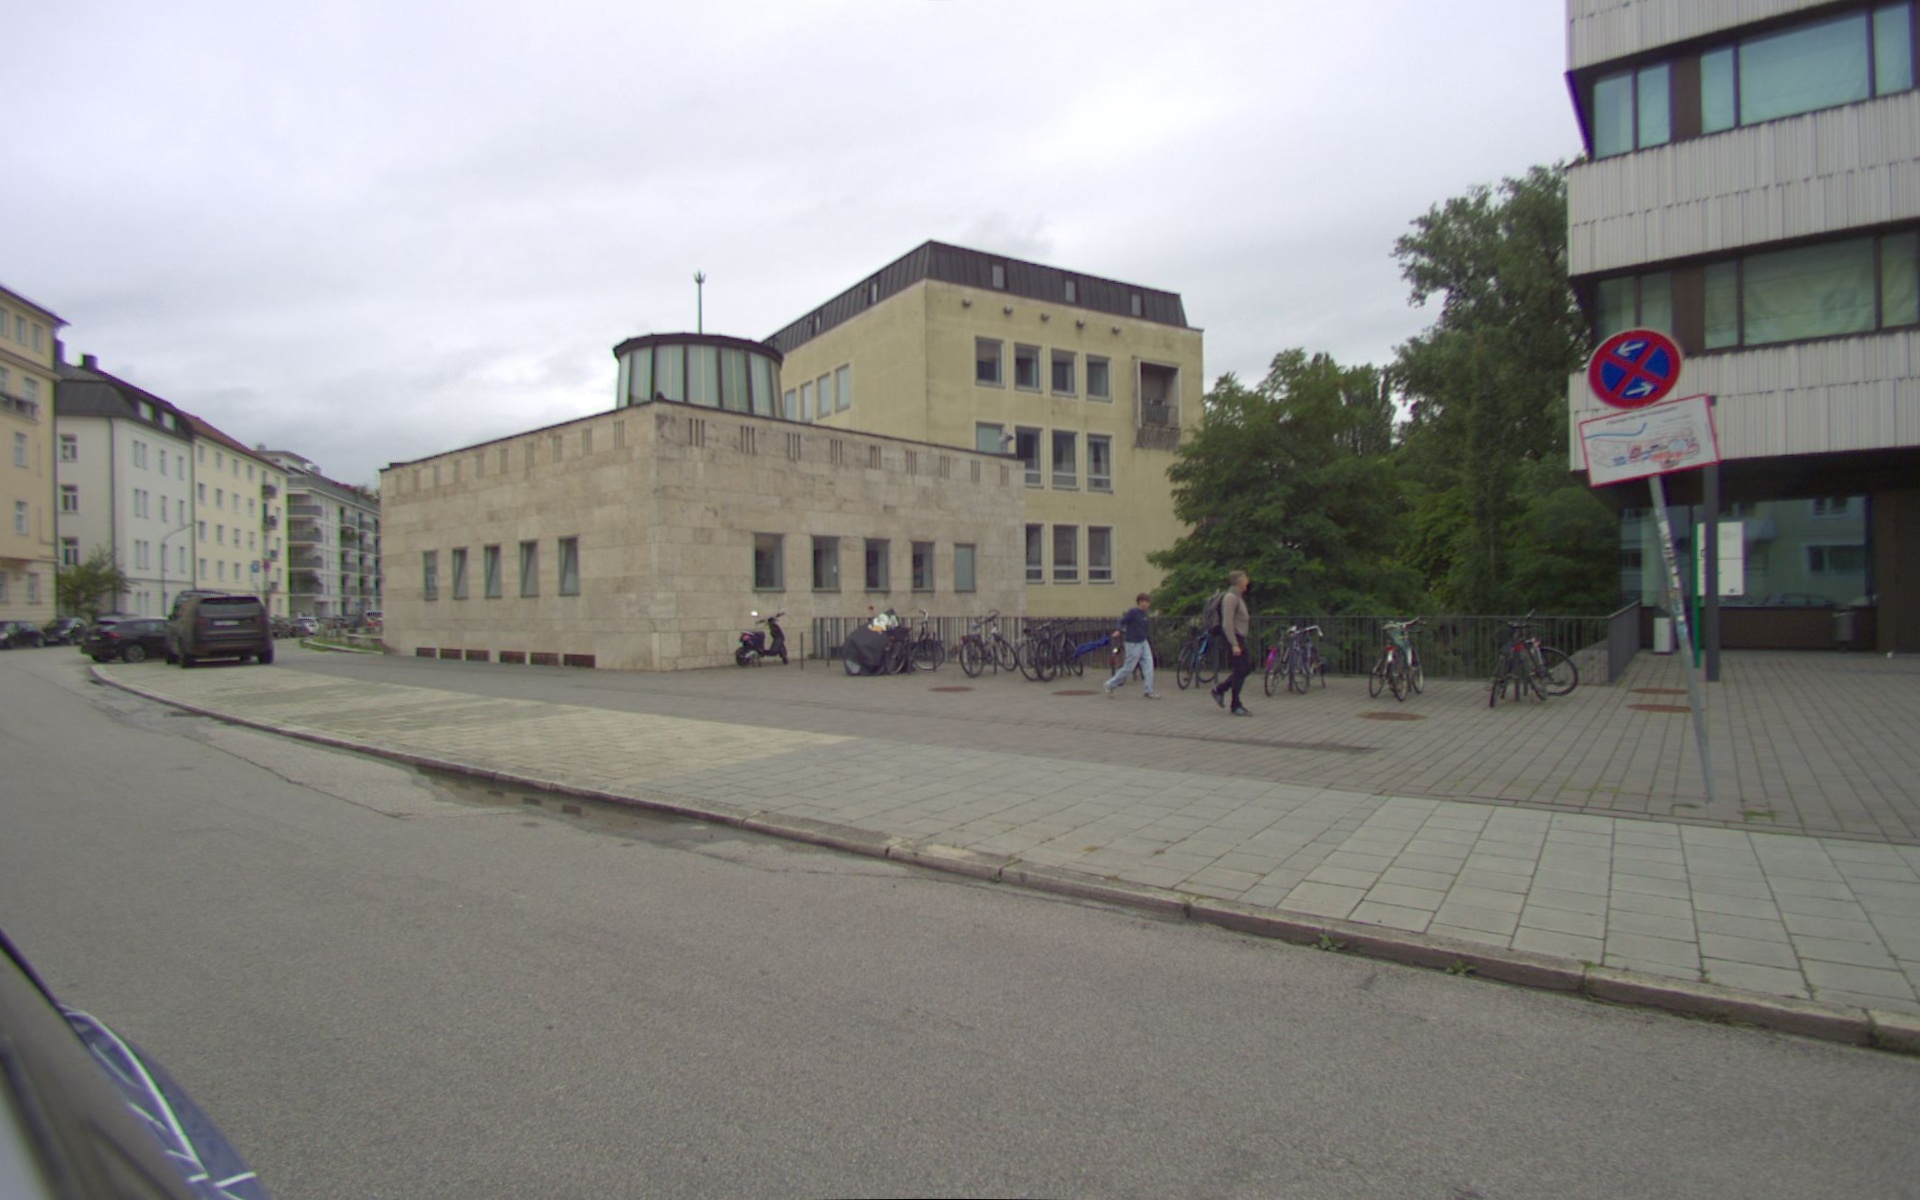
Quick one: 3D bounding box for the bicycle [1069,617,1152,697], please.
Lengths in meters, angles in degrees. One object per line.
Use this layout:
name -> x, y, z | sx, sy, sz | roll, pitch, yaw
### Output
bicycle -> 2.470, 0.885, 16.421 | 0.614, 1.119, 2.032 | -2, 1, 29

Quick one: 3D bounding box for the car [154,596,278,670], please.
car -> -20.131, 0.870, 27.301 | 4.817, 1.785, 1.971 | -2, -1, 45

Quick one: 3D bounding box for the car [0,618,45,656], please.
car -> -46.492, 1.816, 49.034 | 1.811, 1.743, 3.742 | -3, 1, -19

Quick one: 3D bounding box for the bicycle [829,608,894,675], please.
bicycle -> -2.001, 0.835, 20.713 | 0.462, 1.269, 1.437 | -2, 1, 35

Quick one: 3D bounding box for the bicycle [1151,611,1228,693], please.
bicycle -> 3.650, 0.787, 15.967 | 0.614, 1.119, 2.032 | -2, 1, 29

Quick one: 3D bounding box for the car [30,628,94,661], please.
car -> -48.702, 2.405, 54.925 | 1.487, 1.568, 2.871 | -3, 1, -17

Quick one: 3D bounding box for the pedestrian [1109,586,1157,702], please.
pedestrian -> 2.503, 0.624, 14.645 | 0.600, 1.613, 0.642 | -3, 0, 11

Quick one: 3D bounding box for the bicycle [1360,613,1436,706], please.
bicycle -> 6.165, 0.801, 14.193 | 0.615, 1.119, 2.029 | -2, 1, 33

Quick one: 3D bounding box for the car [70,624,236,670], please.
car -> -26.601, 1.521, 33.513 | 1.735, 1.384, 3.983 | 1, -2, 18

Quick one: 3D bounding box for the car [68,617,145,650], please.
car -> -50.463, 1.982, 59.958 | 1.901, 1.743, 4.701 | -3, -1, -19

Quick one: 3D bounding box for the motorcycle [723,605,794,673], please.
motorcycle -> -4.496, 0.858, 22.630 | 0.514, 1.416, 1.549 | -2, 1, 38

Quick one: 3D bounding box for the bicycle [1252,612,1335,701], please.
bicycle -> 4.931, 0.797, 14.879 | 0.615, 1.119, 2.029 | -2, 1, 33

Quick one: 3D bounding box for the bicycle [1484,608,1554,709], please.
bicycle -> 7.296, 0.722, 13.169 | 0.615, 1.119, 2.029 | -2, 1, 33

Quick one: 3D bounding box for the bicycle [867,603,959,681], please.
bicycle -> -0.890, 0.798, 19.946 | 0.612, 1.362, 2.080 | -2, 1, 35

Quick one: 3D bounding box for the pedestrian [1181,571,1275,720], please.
pedestrian -> 3.393, 0.539, 12.774 | 1.009, 1.796, 0.782 | -1, 1, 26

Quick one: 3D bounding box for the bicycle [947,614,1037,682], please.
bicycle -> 0.640, 0.891, 19.278 | 0.616, 1.119, 2.026 | -2, 1, 38

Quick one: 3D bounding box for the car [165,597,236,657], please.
car -> -35.210, 1.222, 47.057 | 2.114, 2.594, 6.229 | 1, -1, -33

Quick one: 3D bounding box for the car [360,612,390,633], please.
car -> -57.300, 2.139, 99.147 | 1.916, 1.991, 4.370 | 0, -1, -22

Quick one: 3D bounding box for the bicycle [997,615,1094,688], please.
bicycle -> 1.544, 0.880, 17.911 | 0.616, 1.119, 2.025 | -2, 1, 40
